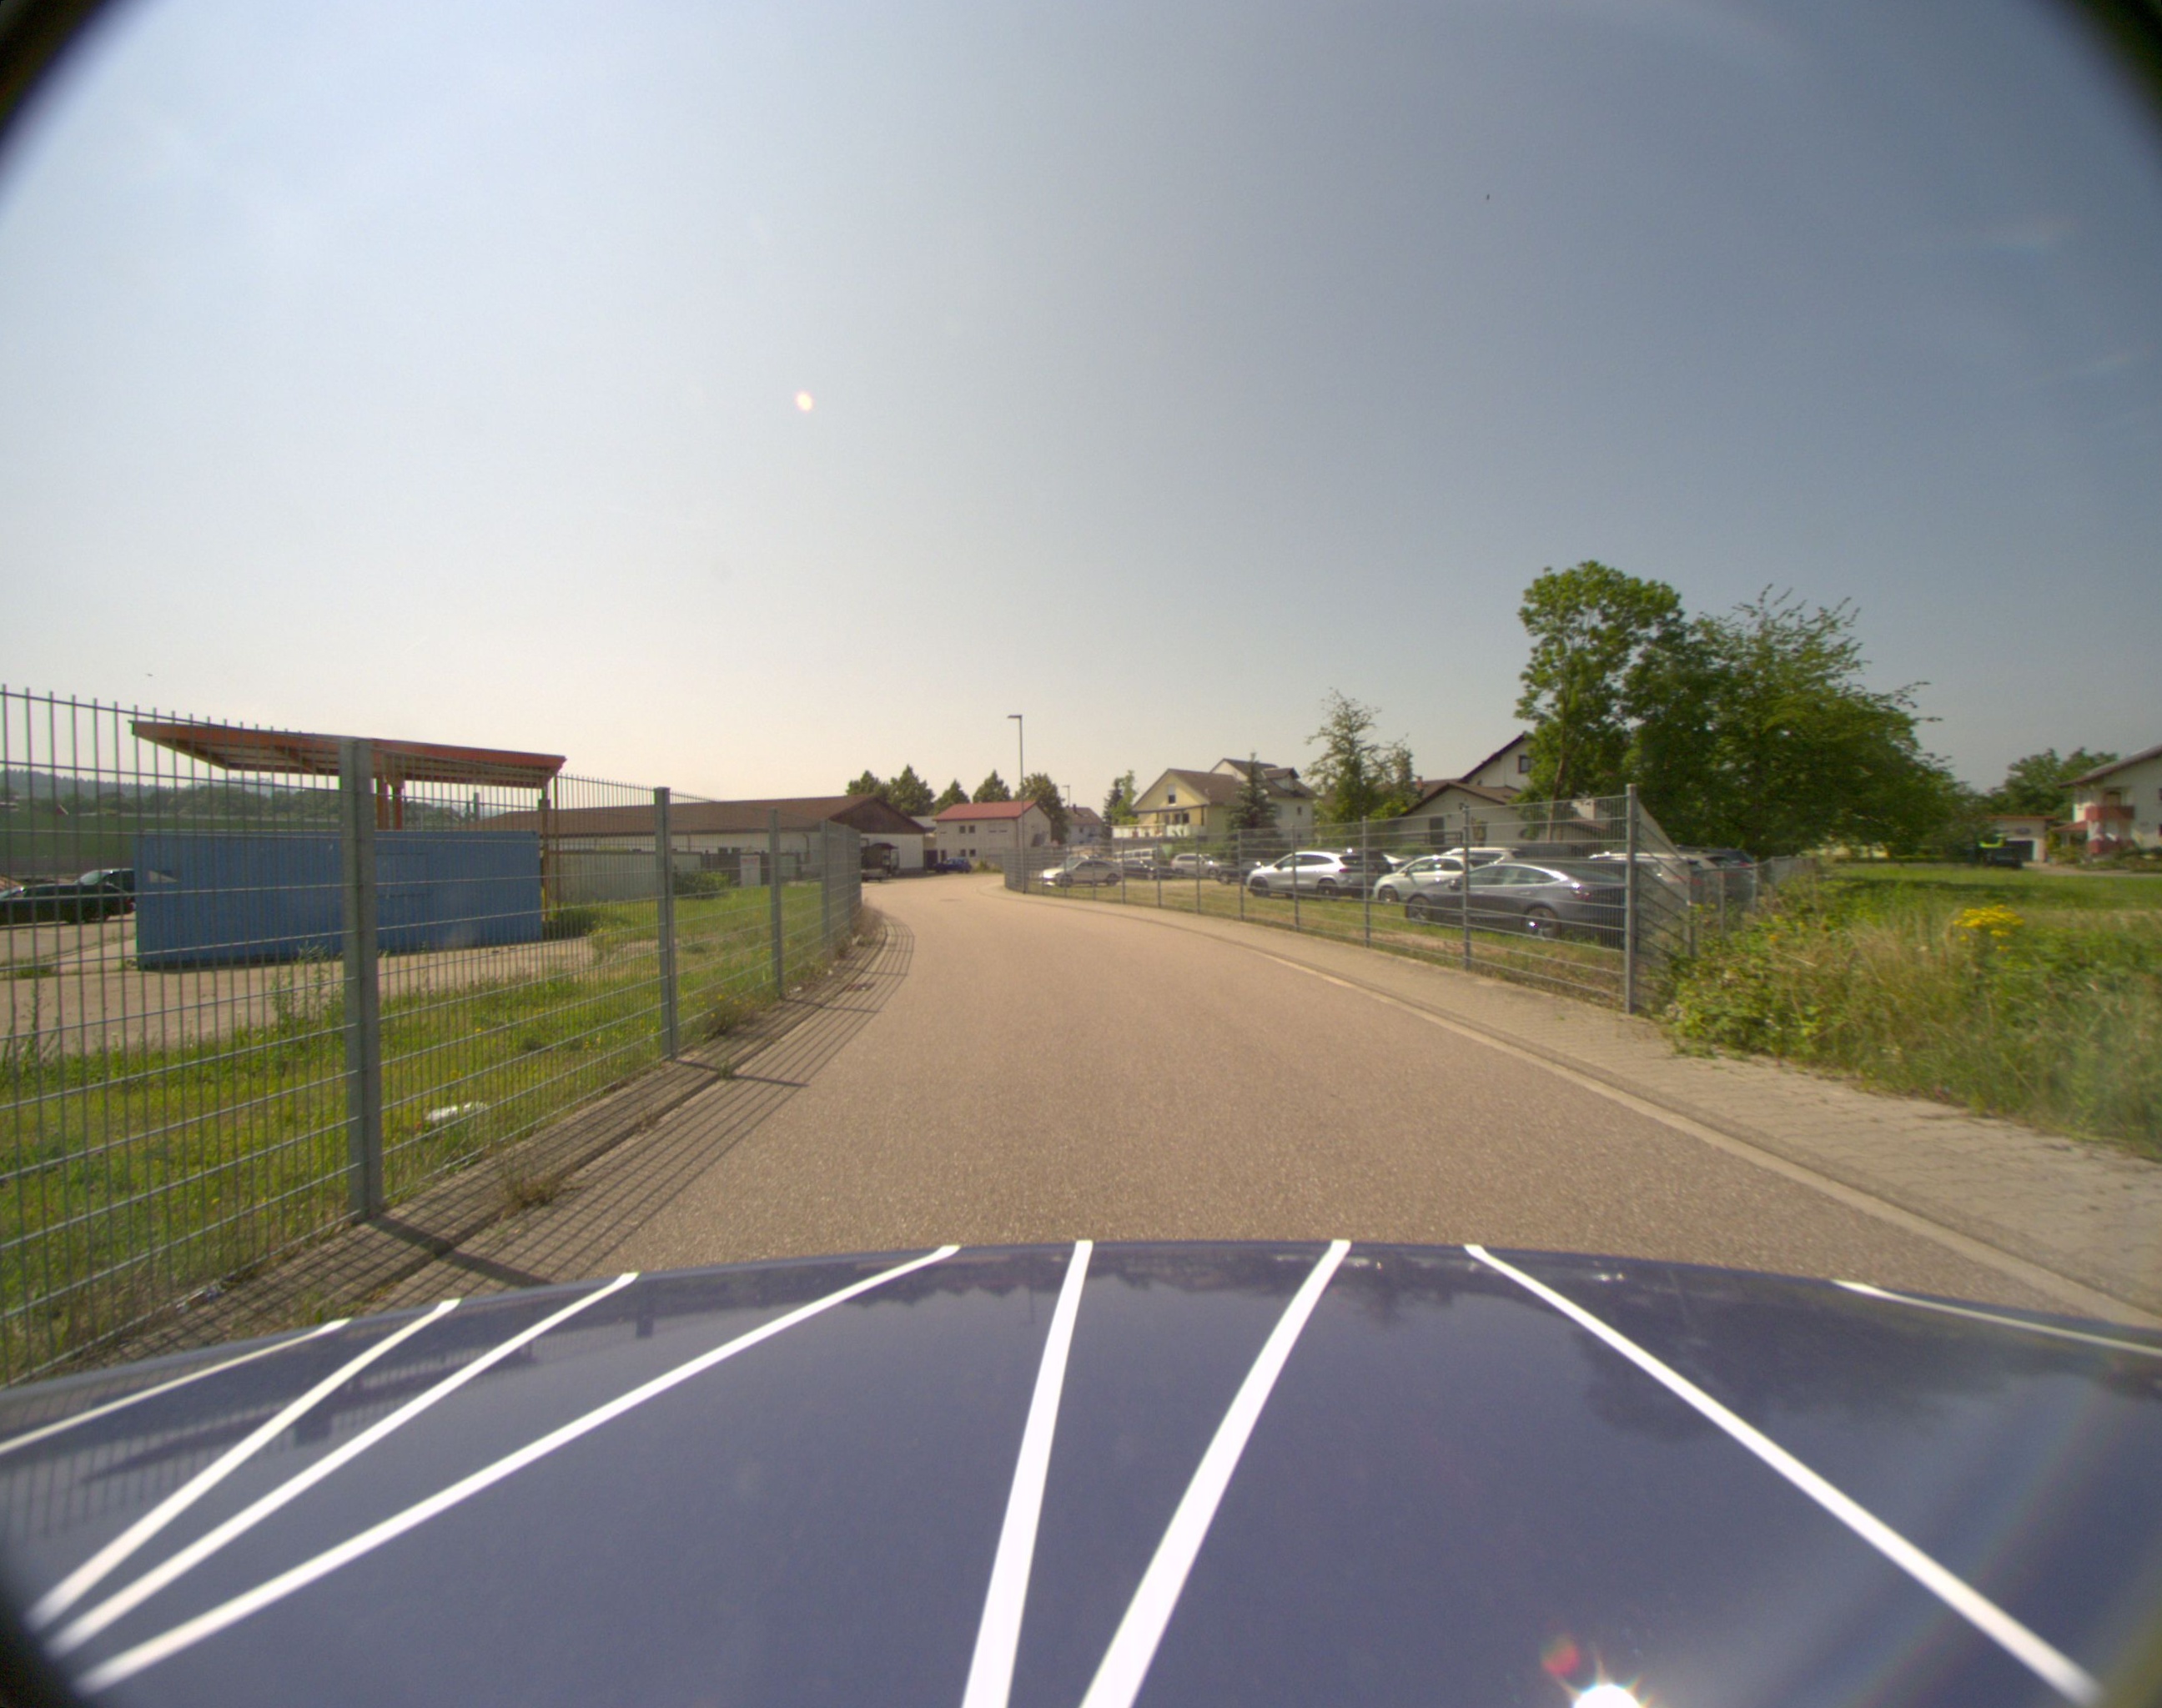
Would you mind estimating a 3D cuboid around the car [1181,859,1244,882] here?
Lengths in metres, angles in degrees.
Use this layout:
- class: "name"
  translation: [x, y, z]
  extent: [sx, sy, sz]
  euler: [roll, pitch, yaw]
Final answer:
- class: "car"
  translation: [8.975, 1.095, 52.103]
  extent: [1.865, 1.489, 3.989]
  euler: [-1, 0, -41]

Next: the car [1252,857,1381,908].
- class: "car"
  translation: [7.437, 0.843, 24.236]
  extent: [1.585, 1.481, 3.636]
  euler: [-1, 0, -38]

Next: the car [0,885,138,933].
- class: "car"
  translation: [-34.571, 1.816, 25.055]
  extent: [1.671, 1.379, 4.006]
  euler: [-1, 0, 22]

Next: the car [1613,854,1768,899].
- class: "car"
  translation: [21.734, 0.760, 27.196]
  extent: [2.004, 1.489, 3.989]
  euler: [-1, 0, -39]

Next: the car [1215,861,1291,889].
- class: "car"
  translation: [8.770, 1.028, 38.929]
  extent: [1.824, 1.309, 3.399]
  euler: [-2, 1, -38]

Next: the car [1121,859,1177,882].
- class: "car"
  translation: [4.664, 1.104, 52.421]
  extent: [1.824, 1.455, 3.673]
  euler: [-2, 1, -38]

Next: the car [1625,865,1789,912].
- class: "car"
  translation: [19.917, 1.045, 24.275]
  extent: [1.824, 1.309, 3.736]
  euler: [-2, 1, -38]

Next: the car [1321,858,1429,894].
- class: "car"
  translation: [12.952, 0.915, 33.600]
  extent: [2.004, 1.489, 3.989]
  euler: [-1, 0, -39]

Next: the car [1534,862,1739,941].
- class: "car"
  translation: [12.498, 0.987, 17.254]
  extent: [1.585, 1.574, 3.452]
  euler: [-1, 0, -38]

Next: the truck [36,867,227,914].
- class: "truck"
  translation: [-41.381, 1.537, 33.289]
  extent: [2.056, 1.787, 4.809]
  euler: [-1, 0, 24]

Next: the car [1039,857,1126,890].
- class: "car"
  translation: [0.041, 0.996, 39.844]
  extent: [4.393, 1.561, 1.824]
  euler: [-1, 1, -7]

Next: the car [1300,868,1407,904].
- class: "car"
  translation: [10.565, 1.194, 29.621]
  extent: [1.585, 1.239, 3.636]
  euler: [-1, 0, -38]

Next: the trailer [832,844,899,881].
- class: "trailer"
  translation: [-15.599, 0.557, 55.053]
  extent: [4.353, 2.527, 2.003]
  euler: [1, 2, 20]

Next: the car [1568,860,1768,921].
- class: "car"
  translation: [15.973, 0.914, 20.828]
  extent: [2.004, 1.489, 3.989]
  euler: [-1, 0, -39]

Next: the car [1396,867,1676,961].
- class: "car"
  translation: [7.903, 0.940, 13.766]
  extent: [1.583, 1.326, 4.397]
  euler: [-1, 0, -18]

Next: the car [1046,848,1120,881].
- class: "car"
  translation: [0.168, 0.696, 50.482]
  extent: [4.714, 2.021, 2.001]
  euler: [-1, 1, 6]

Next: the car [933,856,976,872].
- class: "car"
  translation: [-11.992, 0.906, 72.097]
  extent: [3.638, 1.387, 1.584]
  euler: [2, 1, 17]

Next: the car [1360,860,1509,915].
- class: "car"
  translation: [9.865, 0.880, 21.375]
  extent: [1.585, 1.411, 3.452]
  euler: [-1, 0, -38]
